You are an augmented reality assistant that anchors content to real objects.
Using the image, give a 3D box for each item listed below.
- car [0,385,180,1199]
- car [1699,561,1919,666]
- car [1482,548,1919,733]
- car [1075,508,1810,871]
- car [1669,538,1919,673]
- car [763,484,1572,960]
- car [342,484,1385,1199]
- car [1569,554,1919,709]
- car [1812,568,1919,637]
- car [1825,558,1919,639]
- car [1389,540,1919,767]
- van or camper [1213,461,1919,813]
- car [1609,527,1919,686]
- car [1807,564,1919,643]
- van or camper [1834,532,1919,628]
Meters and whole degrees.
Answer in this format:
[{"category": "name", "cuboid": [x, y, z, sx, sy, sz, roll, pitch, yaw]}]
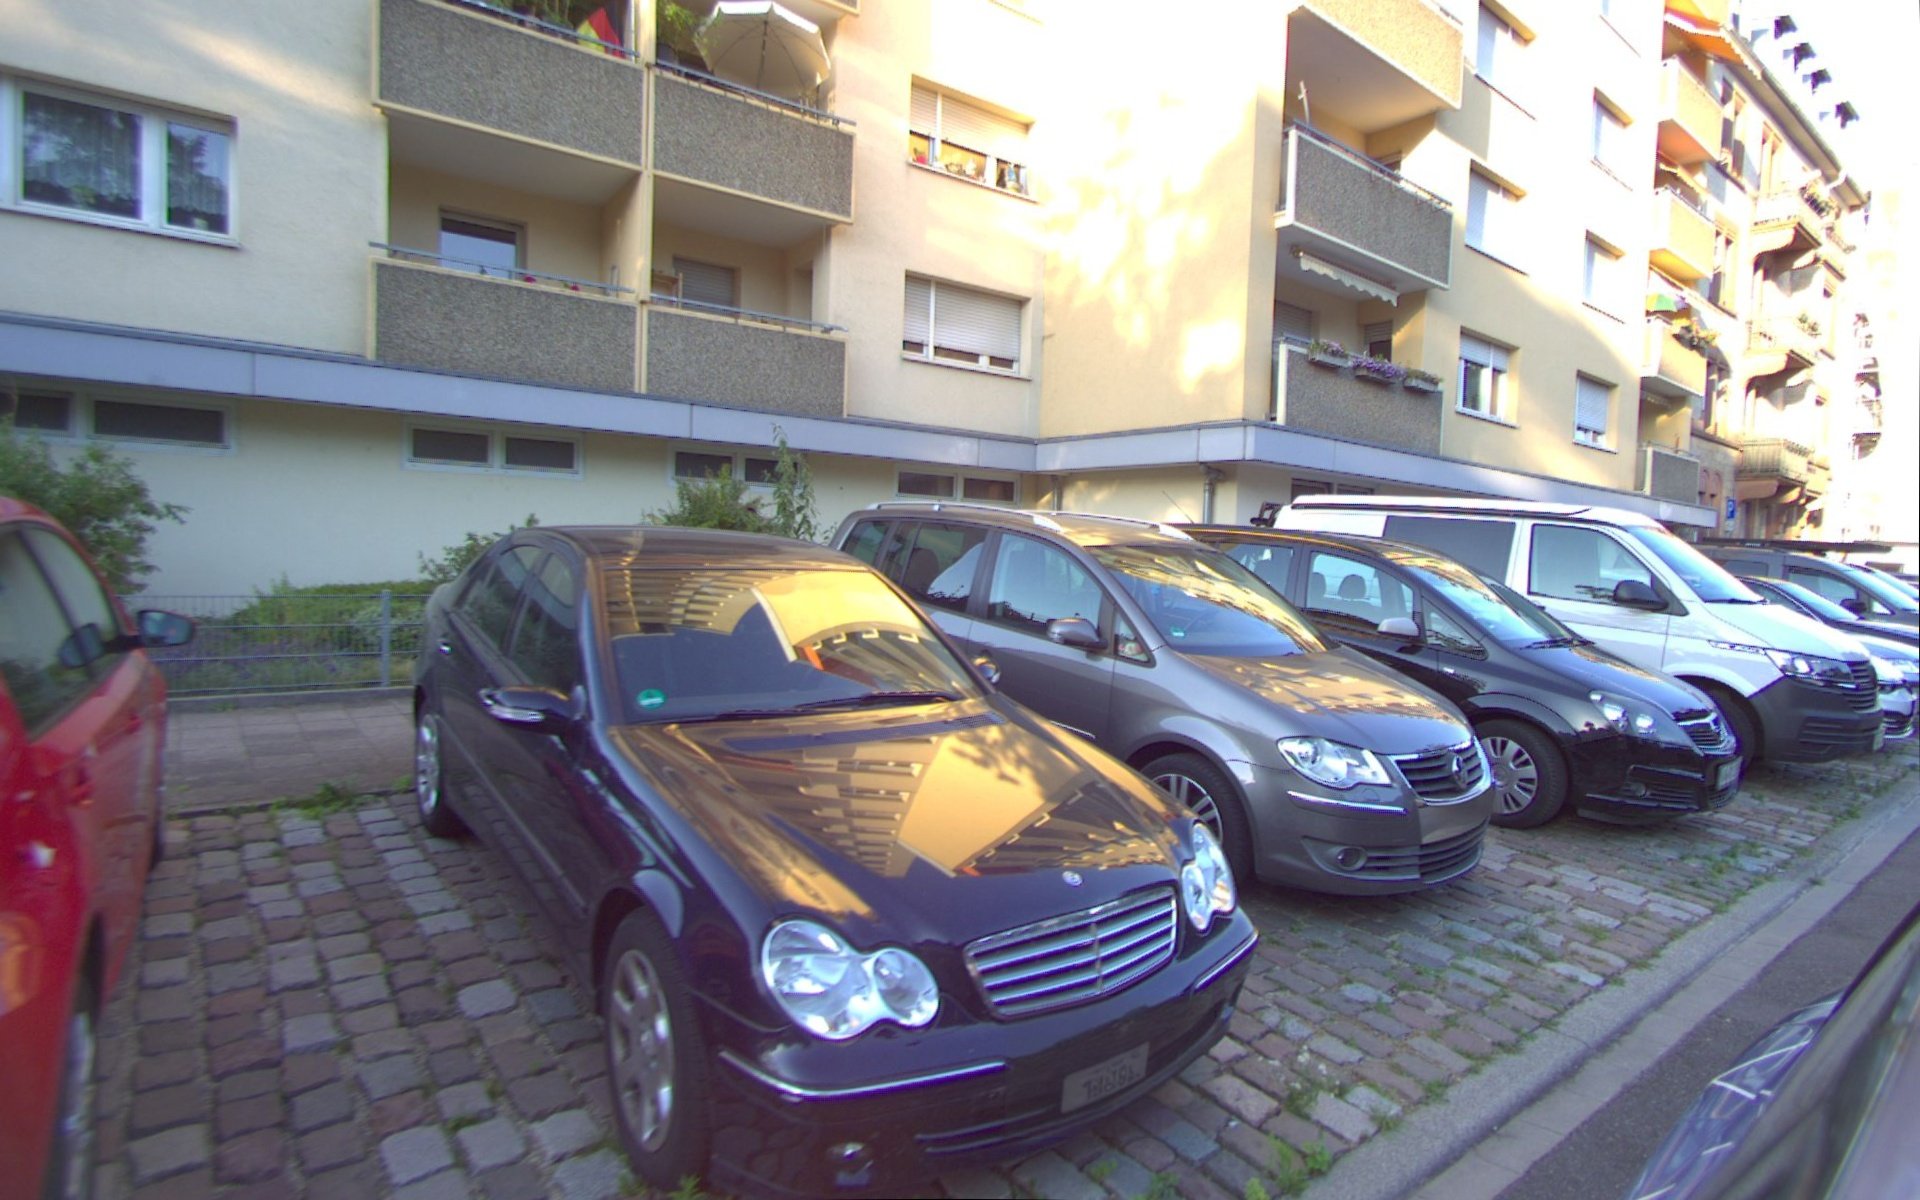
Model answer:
[{"category": "car", "cuboid": [-3.360, 0.248, 2.763, 1.811, 1.649, 4.423, 0, 7, -36]}, {"category": "car", "cuboid": [16.145, 0.201, 18.017, 1.812, 1.572, 4.420, -2, 6, -36]}, {"category": "car", "cuboid": [8.791, 0.291, 11.783, 1.813, 1.611, 4.417, -3, 6, -38]}, {"category": "car", "cuboid": [3.030, 0.270, 7.235, 1.751, 1.680, 4.338, -3, 8, -40]}, {"category": "car", "cuboid": [14.328, 0.052, 16.143, 1.812, 1.885, 4.526, 0, 5, -39]}, {"category": "car", "cuboid": [0.755, 0.228, 5.924, 1.814, 1.680, 4.416, -3, 8, -40]}, {"category": "car", "cuboid": [-0.942, 0.374, 3.943, 1.814, 1.549, 4.415, -3, 6, -40]}, {"category": "car", "cuboid": [10.685, 0.299, 13.074, 1.813, 1.581, 4.417, -3, 6, -38]}, {"category": "car", "cuboid": [24.792, 0.066, 25.779, 1.812, 1.638, 4.417, -3, 4, -37]}, {"category": "car", "cuboid": [23.342, 0.021, 23.592, 1.811, 1.769, 4.422, -2, 6, -34]}, {"category": "car", "cuboid": [6.956, 0.294, 10.272, 1.813, 1.650, 4.417, -3, 6, -38]}, {"category": "van or camper", "cuboid": [5.074, -0.038, 9.040, 2.004, 2.192, 5.149, -1, 7, -40]}, {"category": "car", "cuboid": [12.485, -0.004, 14.777, 1.813, 2.004, 4.651, -3, 6, -38]}, {"category": "car", "cuboid": [21.448, 0.123, 21.924, 1.812, 1.572, 4.418, -2, 6, -37]}, {"category": "van or camper", "cuboid": [27.491, -0.418, 26.884, 2.013, 2.533, 6.079, 0, 5, -38]}]
